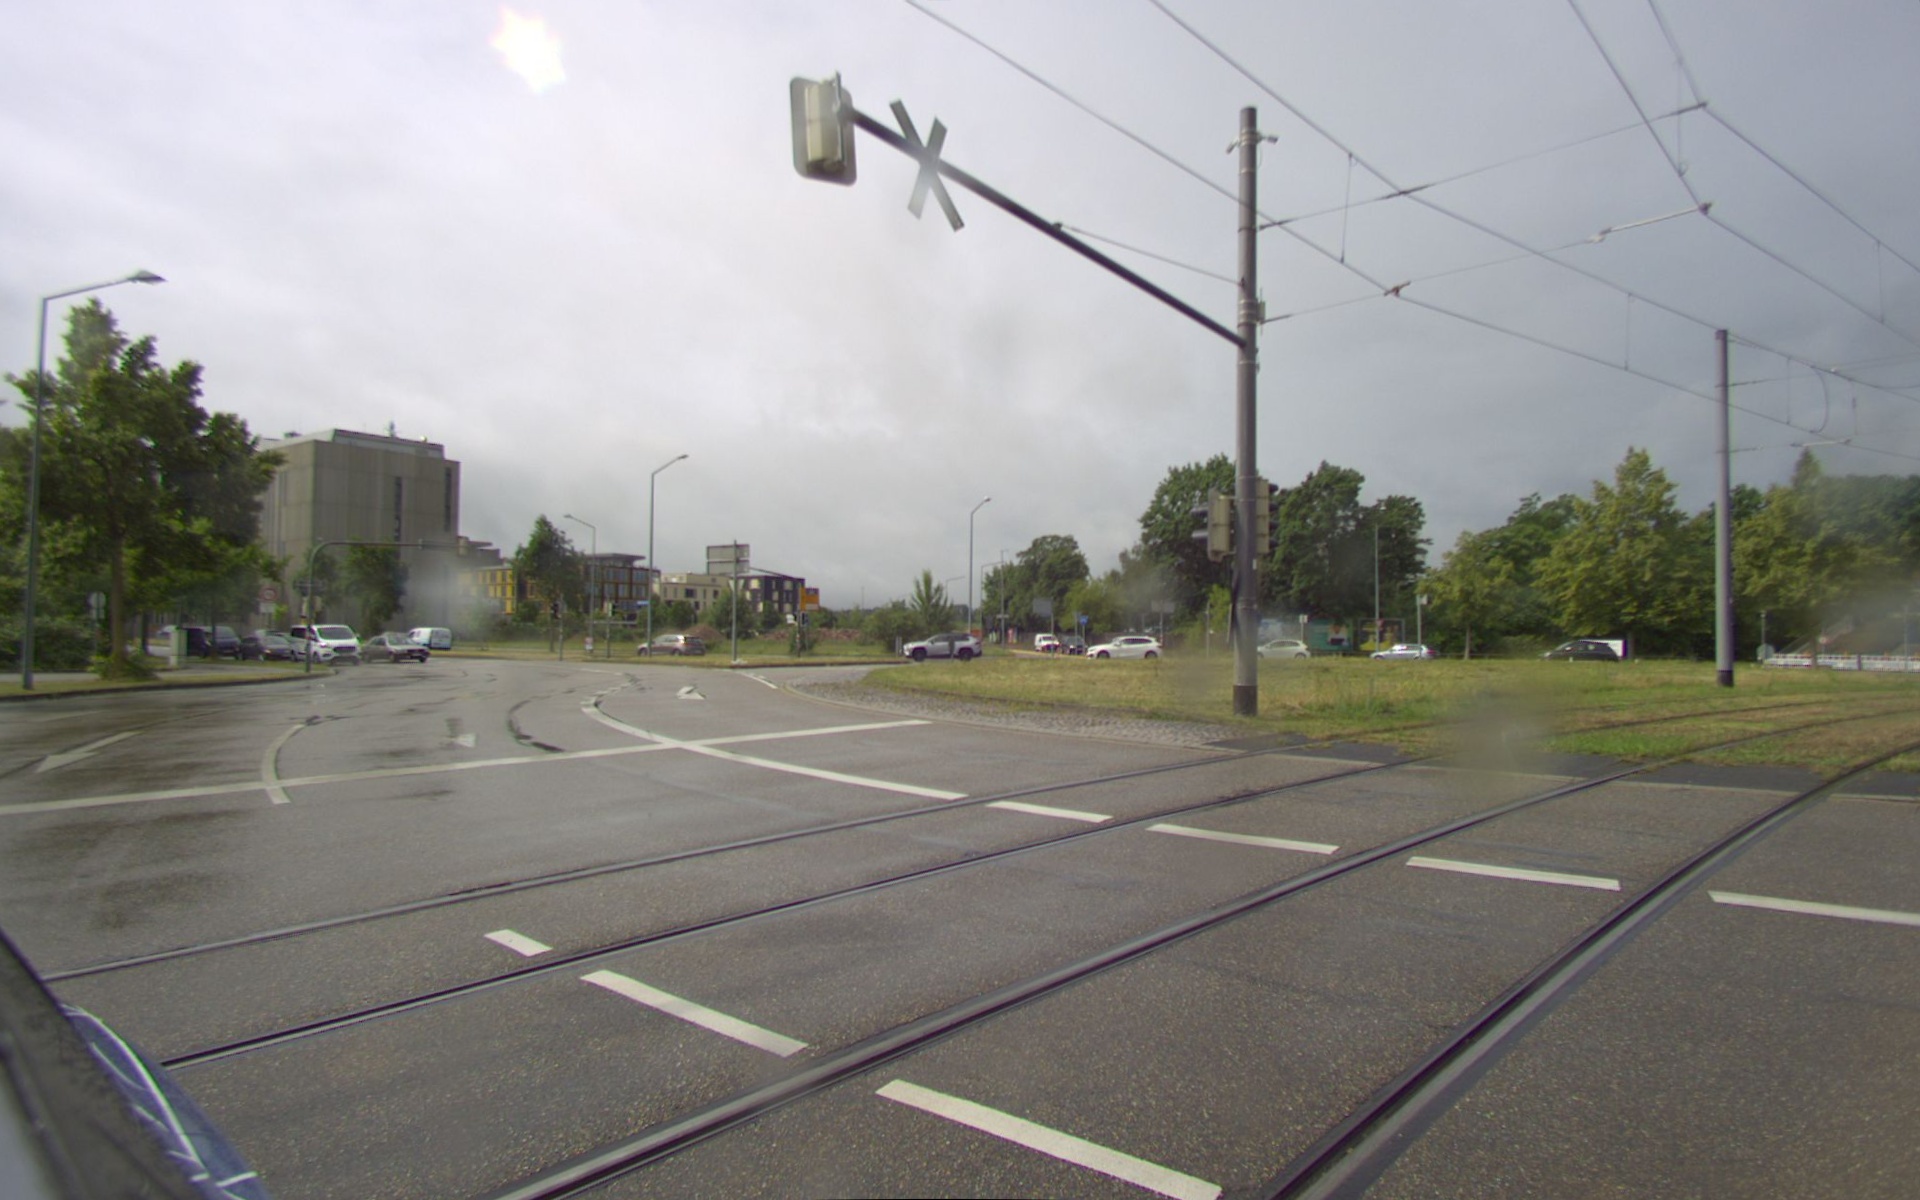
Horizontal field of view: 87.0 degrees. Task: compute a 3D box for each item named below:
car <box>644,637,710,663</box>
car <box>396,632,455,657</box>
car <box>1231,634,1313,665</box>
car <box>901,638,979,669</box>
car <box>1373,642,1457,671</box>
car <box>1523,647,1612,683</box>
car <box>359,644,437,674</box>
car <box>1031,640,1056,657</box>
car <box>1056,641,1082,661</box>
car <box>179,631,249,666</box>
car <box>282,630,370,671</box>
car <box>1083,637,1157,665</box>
[{"bbox_3d":[-16.155,2.884,57.758,4.126,1.424,1.711,-4,-5,42],"label":"car"},{"bbox_3d":[-38.451,3.212,72.749,4.540,1.776,1.845,-2,-4,35],"label":"car"},{"bbox_3d":[18.740,2.967,60.984,4.419,1.685,1.862,1,-3,8],"label":"car"},{"bbox_3d":[-1.178,3.071,58.119,4.416,1.676,1.877,-1,-3,-3],"label":"car"},{"bbox_3d":[28.628,3.556,63.721,4.467,1.685,1.842,-1,-4,40],"label":"car"},{"bbox_3d":[31.343,3.331,52.345,3.804,1.685,1.849,-1,-2,29],"label":"car"},{"bbox_3d":[-29.546,3.074,53.177,4.541,1.391,1.845,-1,-1,35],"label":"car"},{"bbox_3d":[8.286,4.890,101.234,1.848,1.676,4.486,1,-3,-3],"label":"car"},{"bbox_3d":[9.815,4.656,91.518,1.849,1.676,4.483,1,-4,0],"label":"car"},{"bbox_3d":[-44.277,2.904,60.035,4.793,2.003,2.052,-2,-4,38],"label":"car"},{"bbox_3d":[-32.029,2.548,51.078,4.789,2.003,2.054,-2,-4,35],"label":"car"},{"bbox_3d":[8.930,2.872,56.679,3.851,1.519,1.726,0,-3,1],"label":"car"}]
